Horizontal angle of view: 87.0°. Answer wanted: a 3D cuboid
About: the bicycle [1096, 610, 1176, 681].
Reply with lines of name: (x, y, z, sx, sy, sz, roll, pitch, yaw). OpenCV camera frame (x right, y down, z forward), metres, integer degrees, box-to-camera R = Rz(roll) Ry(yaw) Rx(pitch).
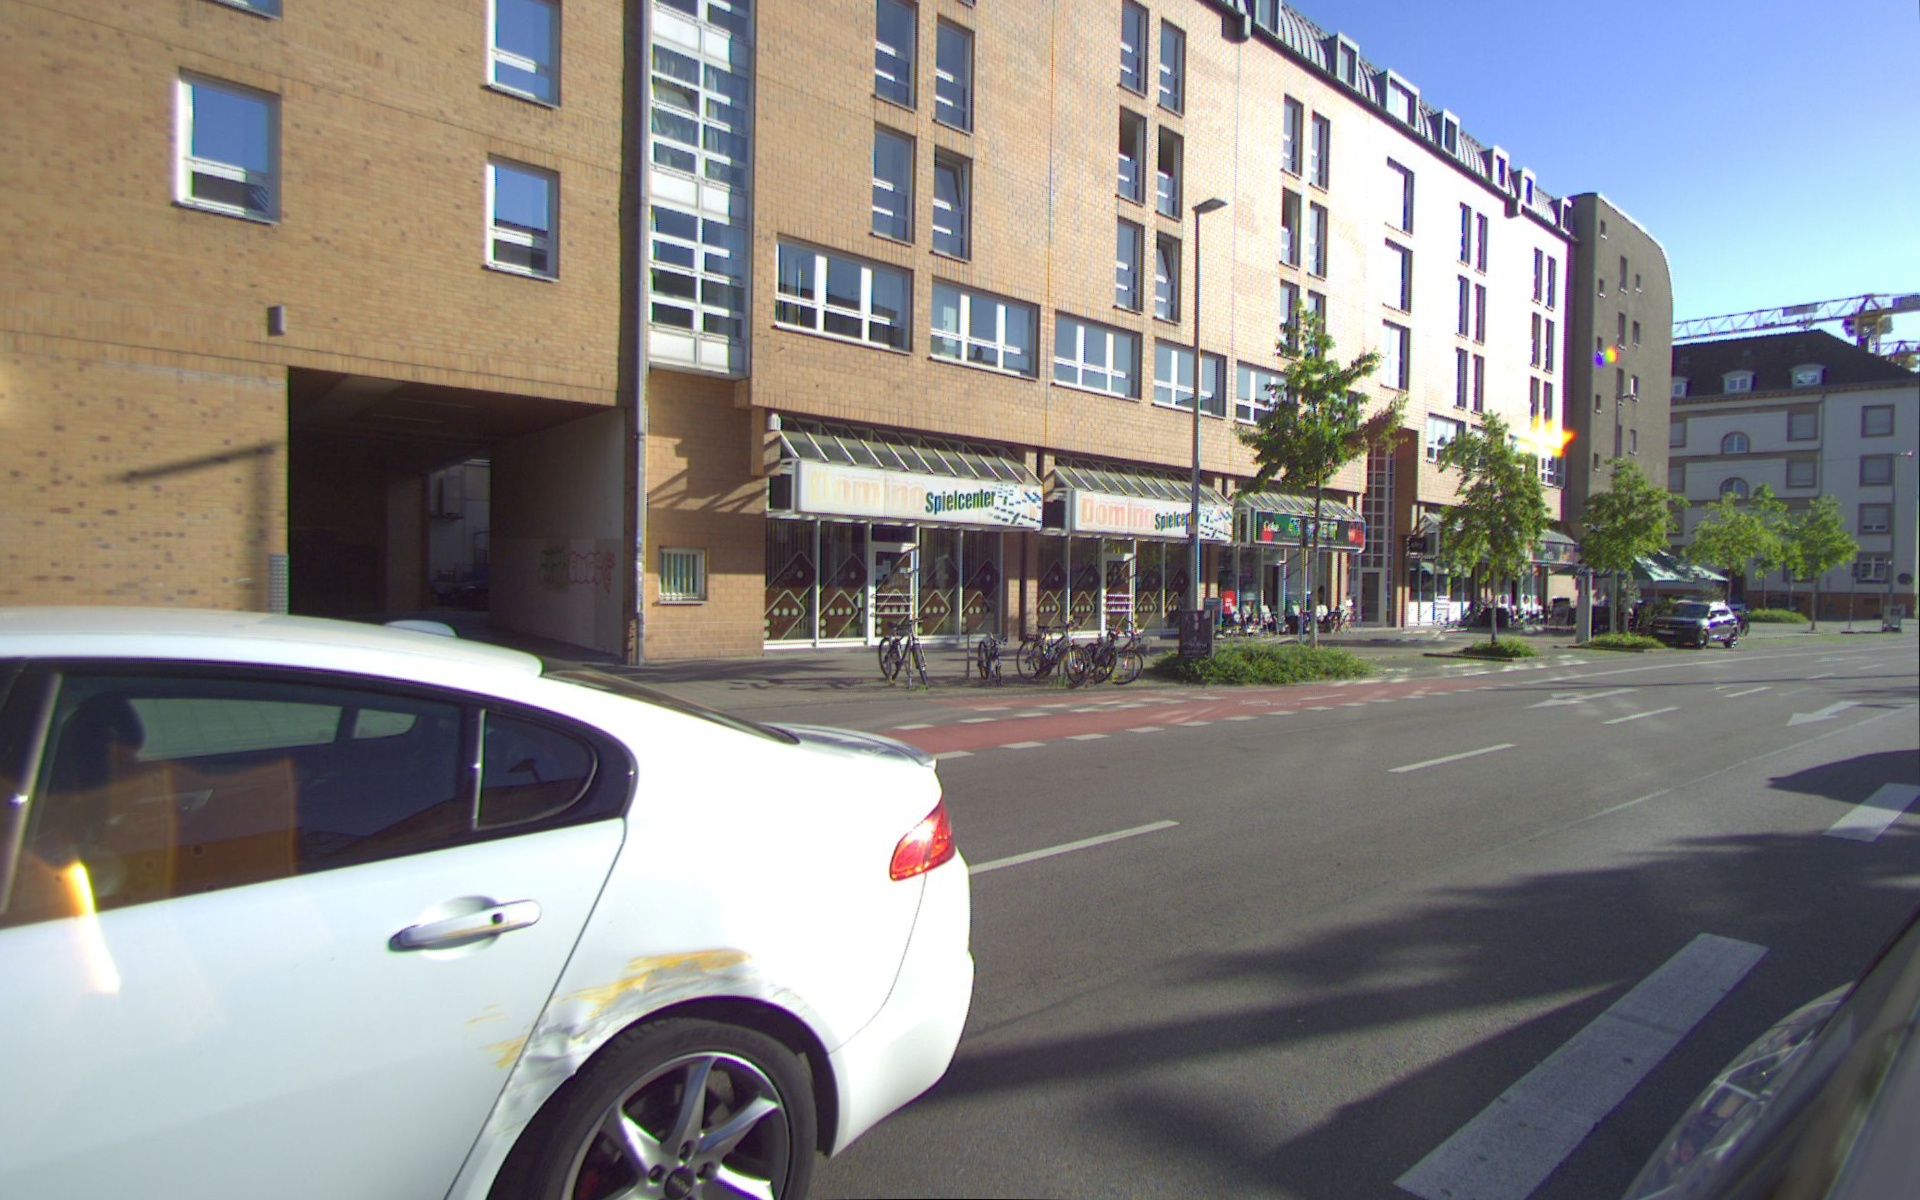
bicycle: (3.082, 0.773, 17.871, 0.343, 1.069, 1.843, 0, 3, -26)

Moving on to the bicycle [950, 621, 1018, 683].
bicycle: (0.381, 0.842, 16.990, 0.359, 0.842, 1.779, 0, 3, -26)

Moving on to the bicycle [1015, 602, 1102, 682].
bicycle: (1.644, 0.678, 17.182, 0.553, 1.177, 1.843, 0, 3, -26)

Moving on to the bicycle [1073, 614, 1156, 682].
bicycle: (2.664, 0.808, 17.665, 0.440, 0.997, 1.843, 0, 3, -26)

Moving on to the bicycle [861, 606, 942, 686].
bicycle: (-0.958, 0.699, 16.174, 0.423, 1.089, 1.776, -1, 4, -35)

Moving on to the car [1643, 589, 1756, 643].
car: (25.821, 0.529, 35.316, 3.921, 1.659, 1.782, 0, 3, -33)

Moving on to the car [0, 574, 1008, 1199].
car: (-2.129, 0.678, 1.803, 4.374, 1.448, 1.807, 0, 1, -40)
